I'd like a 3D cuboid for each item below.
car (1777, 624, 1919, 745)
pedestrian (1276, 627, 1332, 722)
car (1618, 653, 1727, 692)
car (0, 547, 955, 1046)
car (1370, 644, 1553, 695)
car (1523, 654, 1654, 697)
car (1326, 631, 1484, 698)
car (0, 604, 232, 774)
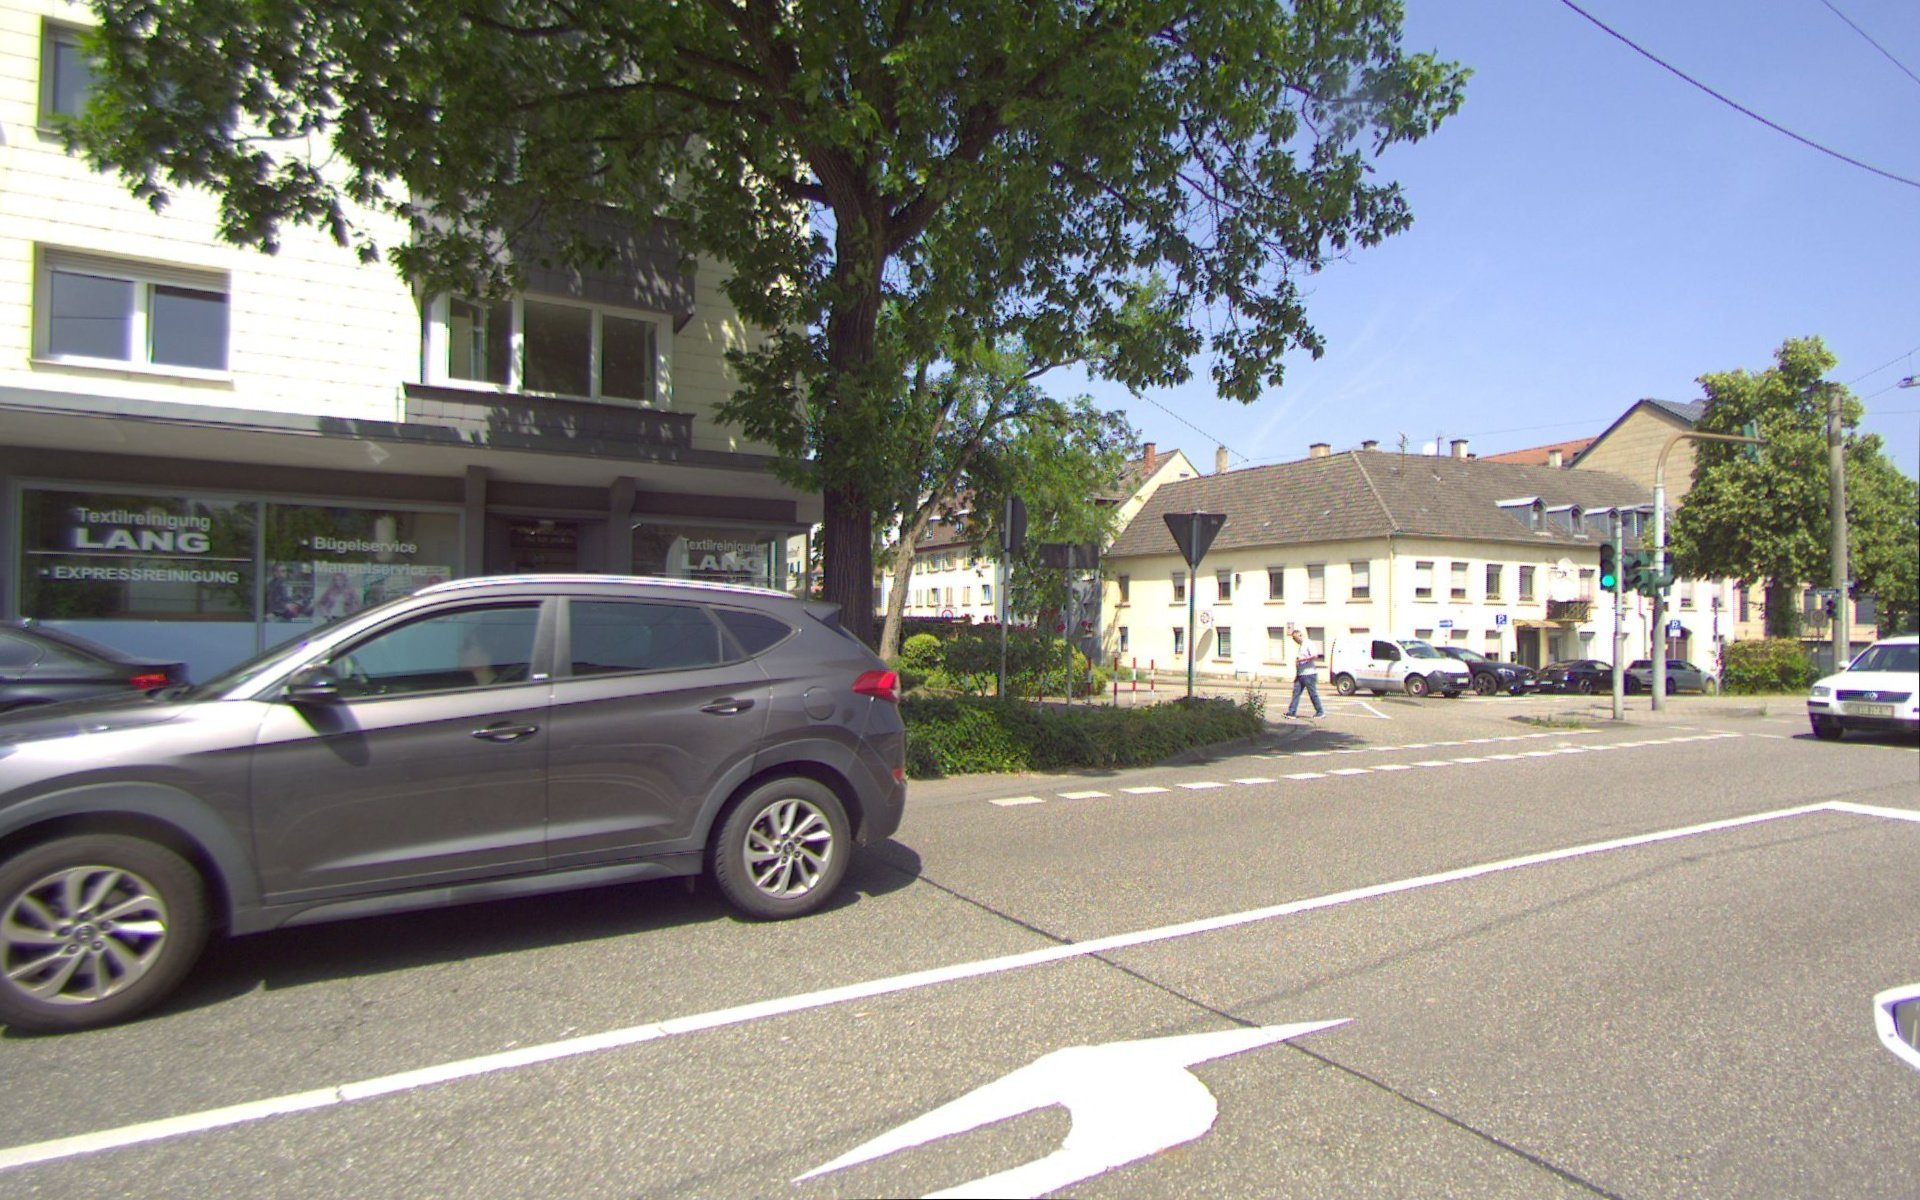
[{"bbox_3d":[13.825,1.151,14.396,4.577,1.538,1.807,2,-2,-30],"label":"car"},{"bbox_3d":[6.686,1.443,19.549,0.734,1.782,0.624,-1,-3,-30],"label":"pedestrian"},{"bbox_3d":[30.585,3.092,43.134,4.365,1.451,1.772,0,0,-22],"label":"car"},{"bbox_3d":[-2.309,0.709,5.064,4.179,1.660,1.970,1,-2,-32],"label":"car"},{"bbox_3d":[15.153,2.102,30.612,2.094,1.419,4.580,2,-4,-32],"label":"car"},{"bbox_3d":[25.724,3.074,41.096,5.209,1.649,1.812,2,-4,-22],"label":"car"},{"bbox_3d":[12.498,1.808,28.383,1.872,1.757,3.668,2,-4,-31],"label":"car"},{"bbox_3d":[-10.119,0.822,9.711,4.782,1.589,1.614,2,-2,-30],"label":"car"}]
